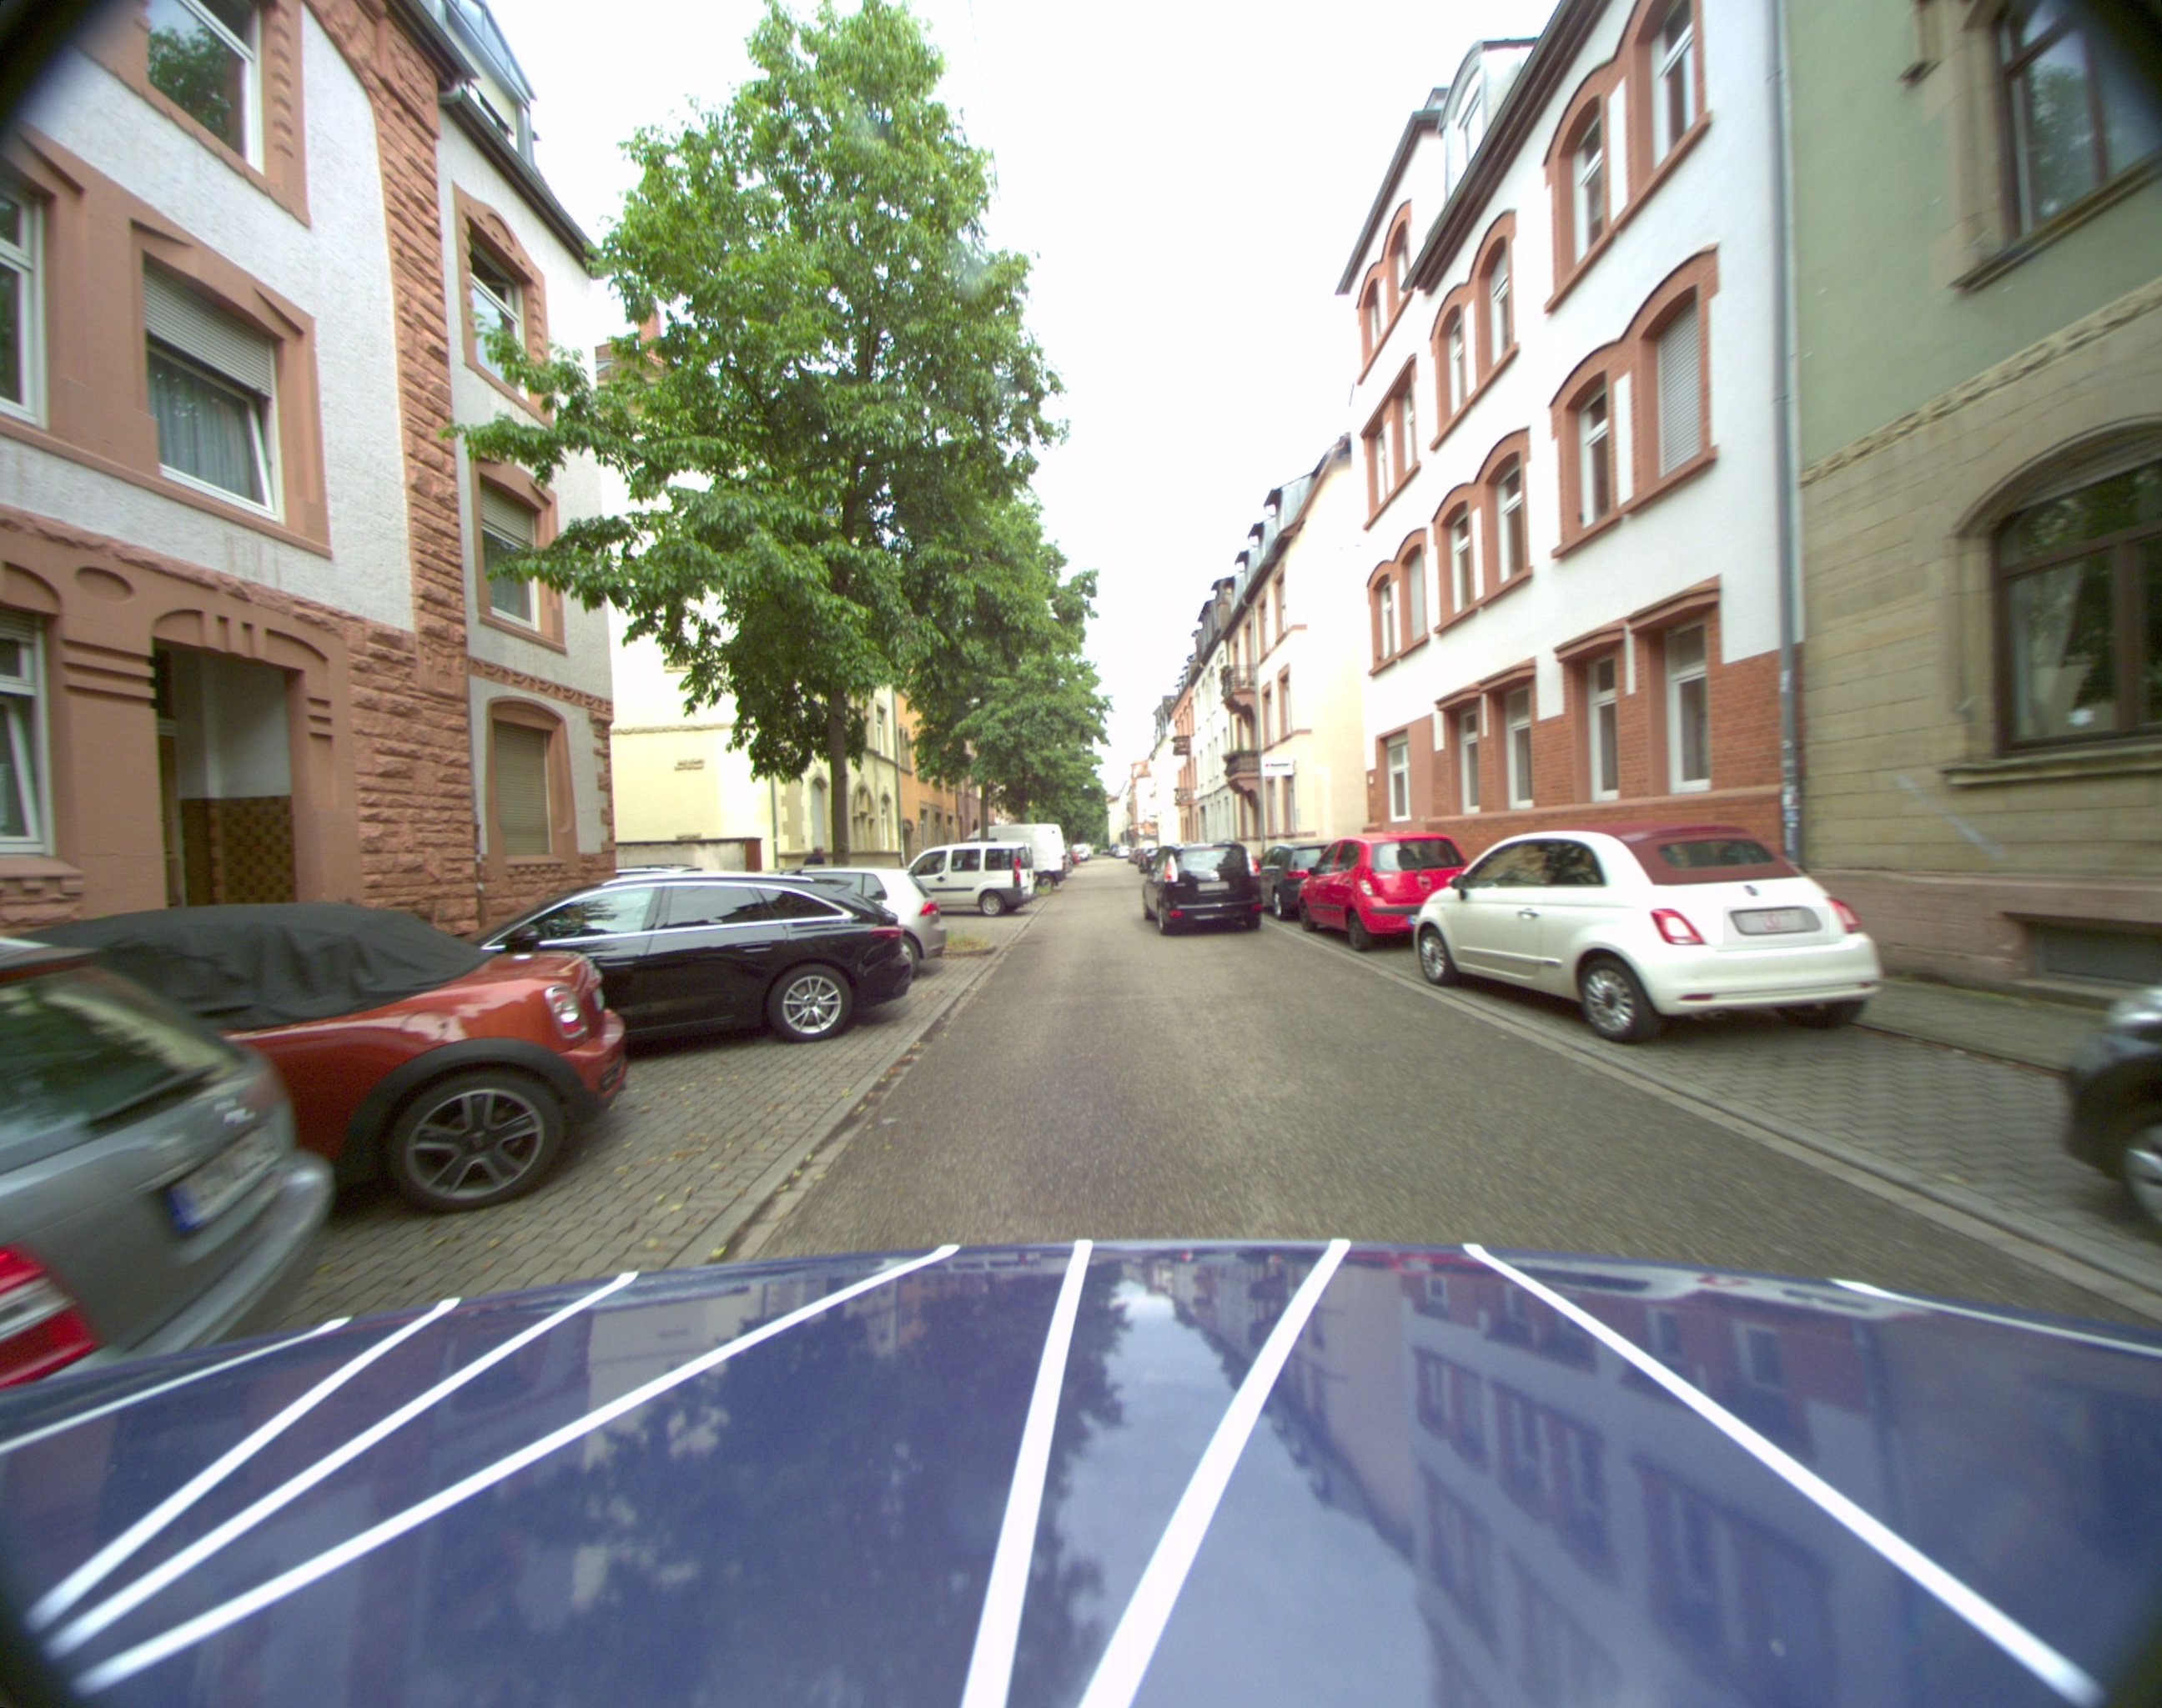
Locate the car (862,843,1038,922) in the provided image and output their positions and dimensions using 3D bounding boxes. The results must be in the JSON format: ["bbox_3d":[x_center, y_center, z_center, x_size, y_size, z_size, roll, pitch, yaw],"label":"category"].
[{"bbox_3d":[-3.270,0.690,19.337,3.994,1.801,1.721,-2,1,8],"label":"car"}]

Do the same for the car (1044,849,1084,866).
[{"bbox_3d":[-1.673,0.366,74.001,3.607,1.458,1.628,-3,1,-12],"label":"car"}]

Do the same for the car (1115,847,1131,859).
[{"bbox_3d":[5.723,-0.178,104.684,2.082,1.446,4.253,-4,0,2],"label":"car"}]

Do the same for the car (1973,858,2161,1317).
[{"bbox_3d":[4.146,0.730,1.150,1.520,1.425,3.456,-4,0,2],"label":"car"}]

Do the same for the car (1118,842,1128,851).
[{"bbox_3d":[7.206,-1.261,130.930,1.457,1.401,3.811,-4,0,2],"label":"car"}]

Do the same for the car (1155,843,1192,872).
[{"bbox_3d":[5.053,0.178,41.942,1.610,1.463,3.342,-2,1,1],"label":"car"}]

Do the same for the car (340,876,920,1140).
[{"bbox_3d":[-3.467,1.025,6.471,3.699,1.458,1.701,-3,1,-30],"label":"car"}]

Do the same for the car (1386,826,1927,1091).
[{"bbox_3d":[4.204,0.619,6.354,1.671,1.502,3.552,-3,0,-3],"label":"car"}]

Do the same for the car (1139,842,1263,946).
[{"bbox_3d":[2.108,0.621,14.445,1.813,1.621,4.207,-3,1,3],"label":"car"}]

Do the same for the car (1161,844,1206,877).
[{"bbox_3d":[4.830,0.268,36.252,1.659,1.375,3.472,-4,1,1],"label":"car"}]

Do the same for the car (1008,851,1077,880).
[{"bbox_3d":[-2.240,0.651,44.480,3.611,1.458,1.627,-3,1,-30],"label":"car"}]

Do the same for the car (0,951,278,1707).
[{"bbox_3d":[-4.157,1.051,0.625,4.452,1.419,1.754,-1,1,-29],"label":"car"}]

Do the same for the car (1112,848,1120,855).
[{"bbox_3d":[7.094,-0.527,153.537,1.457,1.401,3.811,-4,0,2],"label":"car"}]

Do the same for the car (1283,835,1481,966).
[{"bbox_3d":[4.180,0.571,11.138,1.469,1.521,3.568,-4,0,1],"label":"car"}]

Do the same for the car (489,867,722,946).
[{"bbox_3d":[-10.248,1.115,16.567,3.997,1.445,1.609,-2,1,1],"label":"car"}]

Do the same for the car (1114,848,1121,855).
[{"bbox_3d":[8.198,-0.511,172.337,1.457,1.401,3.811,-4,0,2],"label":"car"}]

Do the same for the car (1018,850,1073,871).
[{"bbox_3d":[-2.920,0.519,61.993,4.150,1.490,1.838,-3,1,-12],"label":"car"}]

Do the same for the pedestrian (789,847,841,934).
[{"bbox_3d":[-5.756,0.776,16.485,0.703,1.801,0.817,-3,1,2],"label":"pedestrian"}]

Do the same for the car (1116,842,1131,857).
[{"bbox_3d":[6.513,-0.680,115.989,2.052,2.071,3.811,-4,0,2],"label":"car"}]

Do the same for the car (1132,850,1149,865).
[{"bbox_3d":[6.016,0.308,76.680,1.457,1.401,3.811,-4,0,2],"label":"car"}]

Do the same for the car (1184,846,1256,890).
[{"bbox_3d":[4.941,0.450,27.480,1.904,1.382,4.000,-3,0,1],"label":"car"}]

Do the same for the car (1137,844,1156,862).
[{"bbox_3d":[5.775,-0.106,67.127,1.457,1.401,3.811,-4,0,2],"label":"car"}]

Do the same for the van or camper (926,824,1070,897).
[{"bbox_3d":[-3.220,0.202,29.677,5.076,2.576,2.069,-3,1,-29],"label":"van or camper"}]

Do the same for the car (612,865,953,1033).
[{"bbox_3d":[-3.521,1.009,9.343,3.471,1.554,1.783,-3,1,-21],"label":"car"}]

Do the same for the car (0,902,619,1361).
[{"bbox_3d":[-4.396,1.086,3.322,3.889,1.427,1.743,-3,0,-28],"label":"car"}]

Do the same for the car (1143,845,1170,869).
[{"bbox_3d":[4.961,0.167,50.464,1.457,1.402,3.041,-4,2,1],"label":"car"}]

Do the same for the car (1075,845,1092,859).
[{"bbox_3d":[0.356,-0.274,100.850,1.998,1.740,4.000,-3,0,3],"label":"car"}]

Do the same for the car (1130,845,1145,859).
[{"bbox_3d":[6.071,-0.258,81.656,1.457,1.401,3.811,-4,0,2],"label":"car"}]

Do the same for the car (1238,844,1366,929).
[{"bbox_3d":[4.314,0.563,15.391,1.469,1.408,3.918,-4,0,1],"label":"car"}]

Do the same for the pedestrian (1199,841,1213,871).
[{"bbox_3d":[6.737,0.091,40.972,0.577,1.600,0.544,-3,1,1],"label":"pedestrian"}]

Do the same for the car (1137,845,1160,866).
[{"bbox_3d":[4.975,0.100,56.525,1.457,1.401,3.811,-4,0,2],"label":"car"}]
